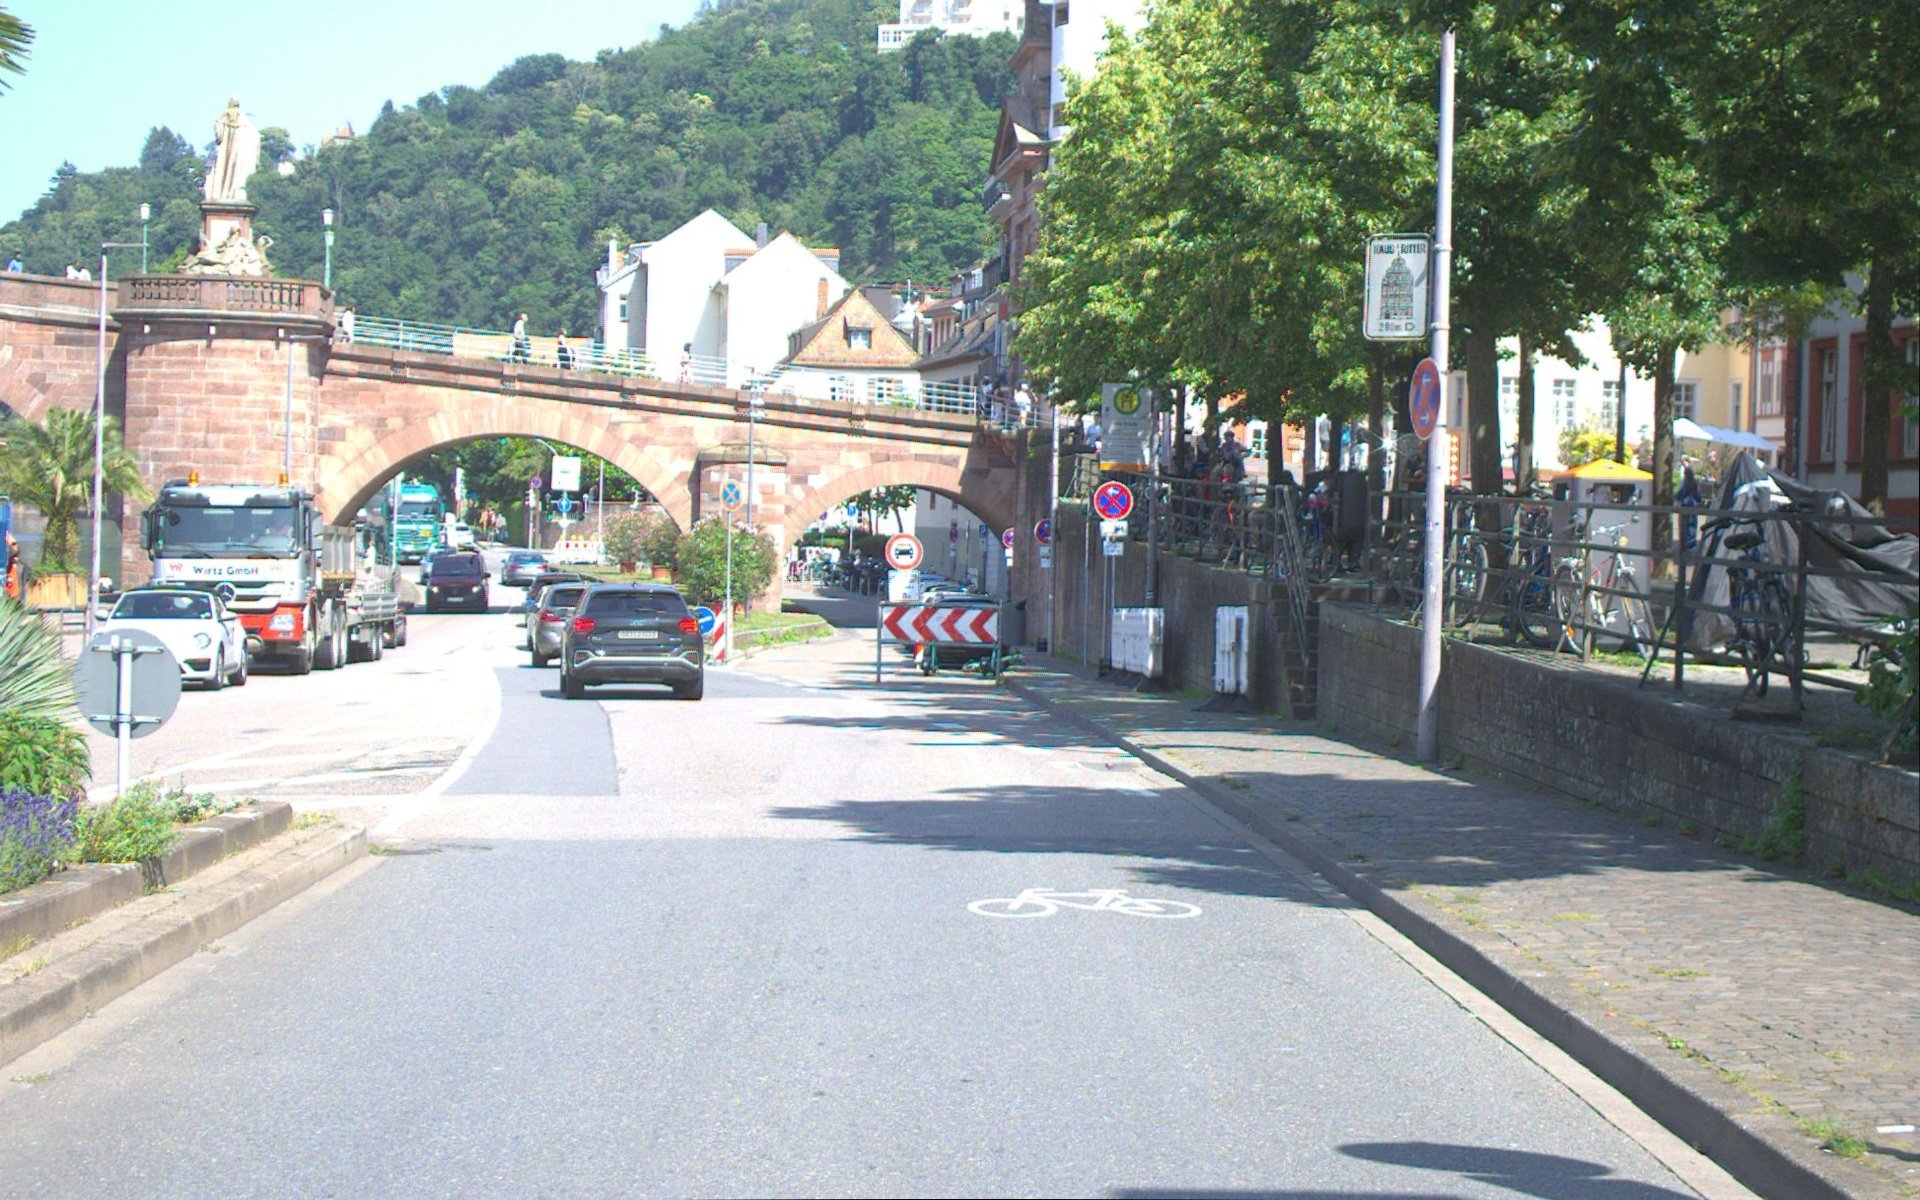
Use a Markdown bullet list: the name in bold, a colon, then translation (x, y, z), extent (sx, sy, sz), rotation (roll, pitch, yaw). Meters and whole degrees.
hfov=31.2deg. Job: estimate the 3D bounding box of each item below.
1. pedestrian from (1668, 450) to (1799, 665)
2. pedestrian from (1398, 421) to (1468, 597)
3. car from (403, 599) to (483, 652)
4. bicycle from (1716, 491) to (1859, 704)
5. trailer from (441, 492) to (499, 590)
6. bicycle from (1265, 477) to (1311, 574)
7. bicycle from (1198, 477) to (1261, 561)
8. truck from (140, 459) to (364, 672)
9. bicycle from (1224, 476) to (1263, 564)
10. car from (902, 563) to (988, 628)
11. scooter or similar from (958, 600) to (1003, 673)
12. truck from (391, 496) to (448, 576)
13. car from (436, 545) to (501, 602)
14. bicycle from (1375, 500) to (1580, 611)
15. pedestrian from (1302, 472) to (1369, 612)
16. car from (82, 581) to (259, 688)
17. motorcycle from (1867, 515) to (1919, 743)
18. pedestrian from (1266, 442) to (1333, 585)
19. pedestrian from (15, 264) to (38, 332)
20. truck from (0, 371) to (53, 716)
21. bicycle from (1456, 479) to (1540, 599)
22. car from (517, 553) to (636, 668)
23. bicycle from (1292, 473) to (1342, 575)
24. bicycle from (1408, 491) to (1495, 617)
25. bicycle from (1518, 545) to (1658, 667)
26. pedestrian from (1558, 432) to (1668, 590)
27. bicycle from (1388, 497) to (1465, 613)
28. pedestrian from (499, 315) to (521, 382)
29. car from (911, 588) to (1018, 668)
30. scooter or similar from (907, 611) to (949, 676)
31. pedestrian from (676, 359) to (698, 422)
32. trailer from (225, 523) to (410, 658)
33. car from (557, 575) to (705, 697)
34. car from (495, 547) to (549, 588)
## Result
- **pedestrian**: translation (5.187, -0.285, 23.073), extent (0.667, 1.410, 0.697), rotation (1, 0, -4)
- **pedestrian**: translation (5.948, -1.142, 43.252), extent (0.718, 2.181, 0.711), rotation (1, 0, -3)
- **car**: translation (-12.101, 0.582, 80.613), extent (1.671, 1.190, 3.629), rotation (0, 0, -5)
- **bicycle**: translation (4.526, -0.023, 18.887), extent (0.344, 1.108, 1.919), rotation (1, 1, 1)
- **trailer**: translation (-16.794, -2.034, 117.951), extent (1.741, 3.309, 3.384), rotation (0, 1, -5)
- **bicycle**: translation (3.810, -0.854, 39.997), extent (0.410, 1.102, 1.734), rotation (1, 1, 2)
- **bicycle**: translation (3.608, -1.072, 46.122), extent (0.410, 1.102, 1.735), rotation (0, 1, -10)
- **truck**: translation (-12.155, -0.570, 59.657), extent (2.642, 3.445, 7.872), rotation (0, 0, -3)
- **bicycle**: translation (3.634, -1.018, 44.145), extent (0.410, 1.102, 1.734), rotation (0, 0, 2)
- **car**: translation (-0.368, -0.119, 81.497), extent (1.710, 1.452, 3.548), rotation (2, 0, -5)
- **scooter or similar**: translation (0.351, 0.622, 59.410), extent (0.532, 1.226, 1.270), rotation (1, 0, 11)
- **truck**: translation (-25.874, -3.105, 164.658), extent (2.523, 3.735, 6.248), rotation (0, 2, -8)
- **car**: translation (-16.073, -0.884, 112.663), extent (1.874, 1.821, 4.545), rotation (0, 1, -5)
- **bicycle**: translation (4.814, -0.416, 32.002), extent (1.853, 1.001, 0.299), rotation (1, 1, -5)
- **pedestrian**: translation (4.633, -0.713, 42.447), extent (0.718, 1.715, 0.573), rotation (1, 0, -3)
- **car**: translation (-11.256, 0.470, 49.271), extent (1.777, 1.439, 3.998), rotation (1, 0, -3)
- **motorcycle**: translation (5.498, 0.135, 16.968), extent (1.914, 1.094, 0.575), rotation (0, 0, -10)
- **pedestrian**: translation (4.126, -1.050, 41.795), extent (0.718, 1.715, 0.573), rotation (1, 0, -3)
- **pedestrian**: translation (-28.547, -9.239, 105.106), extent (0.623, 2.007, 0.695), rotation (1, 0, -13)
- **truck**: translation (-10.876, -0.544, 31.062), extent (2.642, 3.464, 11.108), rotation (1, 1, -1)
- **bicycle**: translation (5.260, -0.603, 33.706), extent (0.382, 1.136, 1.934), rotation (1, 1, -4)
- **car**: translation (-6.964, 0.168, 62.774), extent (1.993, 2.007, 4.001), rotation (1, 1, -4)
- **bicycle**: translation (3.974, -0.835, 38.310), extent (0.410, 1.102, 1.924), rotation (1, 1, 2)
- **bicycle**: translation (4.045, -0.390, 28.358), extent (0.298, 1.001, 1.942), rotation (1, 1, -4)
- **bicycle**: translation (4.217, 0.025, 23.177), extent (0.349, 0.781, 1.919), rotation (1, 1, -7)
- **pedestrian**: translation (5.305, -0.720, 27.950), extent (0.694, 1.260, 0.670), rotation (1, 0, -7)
- **bicycle**: translation (4.128, -0.410, 30.501), extent (0.298, 1.001, 1.860), rotation (1, 1, -4)
- **pedestrian**: translation (-13.902, -7.758, 106.209), extent (0.623, 2.007, 0.695), rotation (1, 0, -6)
- **car**: translation (0.049, 0.527, 67.166), extent (1.842, 1.445, 4.535), rotation (2, 0, -3)
- **scooter or similar**: translation (-0.540, 0.743, 58.910), extent (0.532, 1.086, 1.438), rotation (1, 0, 6)
- **pedestrian**: translation (-8.927, -6.831, 112.264), extent (0.684, 2.007, 0.586), rotation (1, 0, -6)
- **trailer**: translation (-12.613, -0.175, 67.987), extent (2.697, 2.522, 6.948), rotation (0, 0, -3)
- **car**: translation (-4.430, 0.449, 45.880), extent (1.856, 1.518, 4.001), rotation (1, 1, -7)
- **car**: translation (-18.129, -1.343, 142.222), extent (1.855, 1.656, 4.001), rotation (0, 1, -13)
